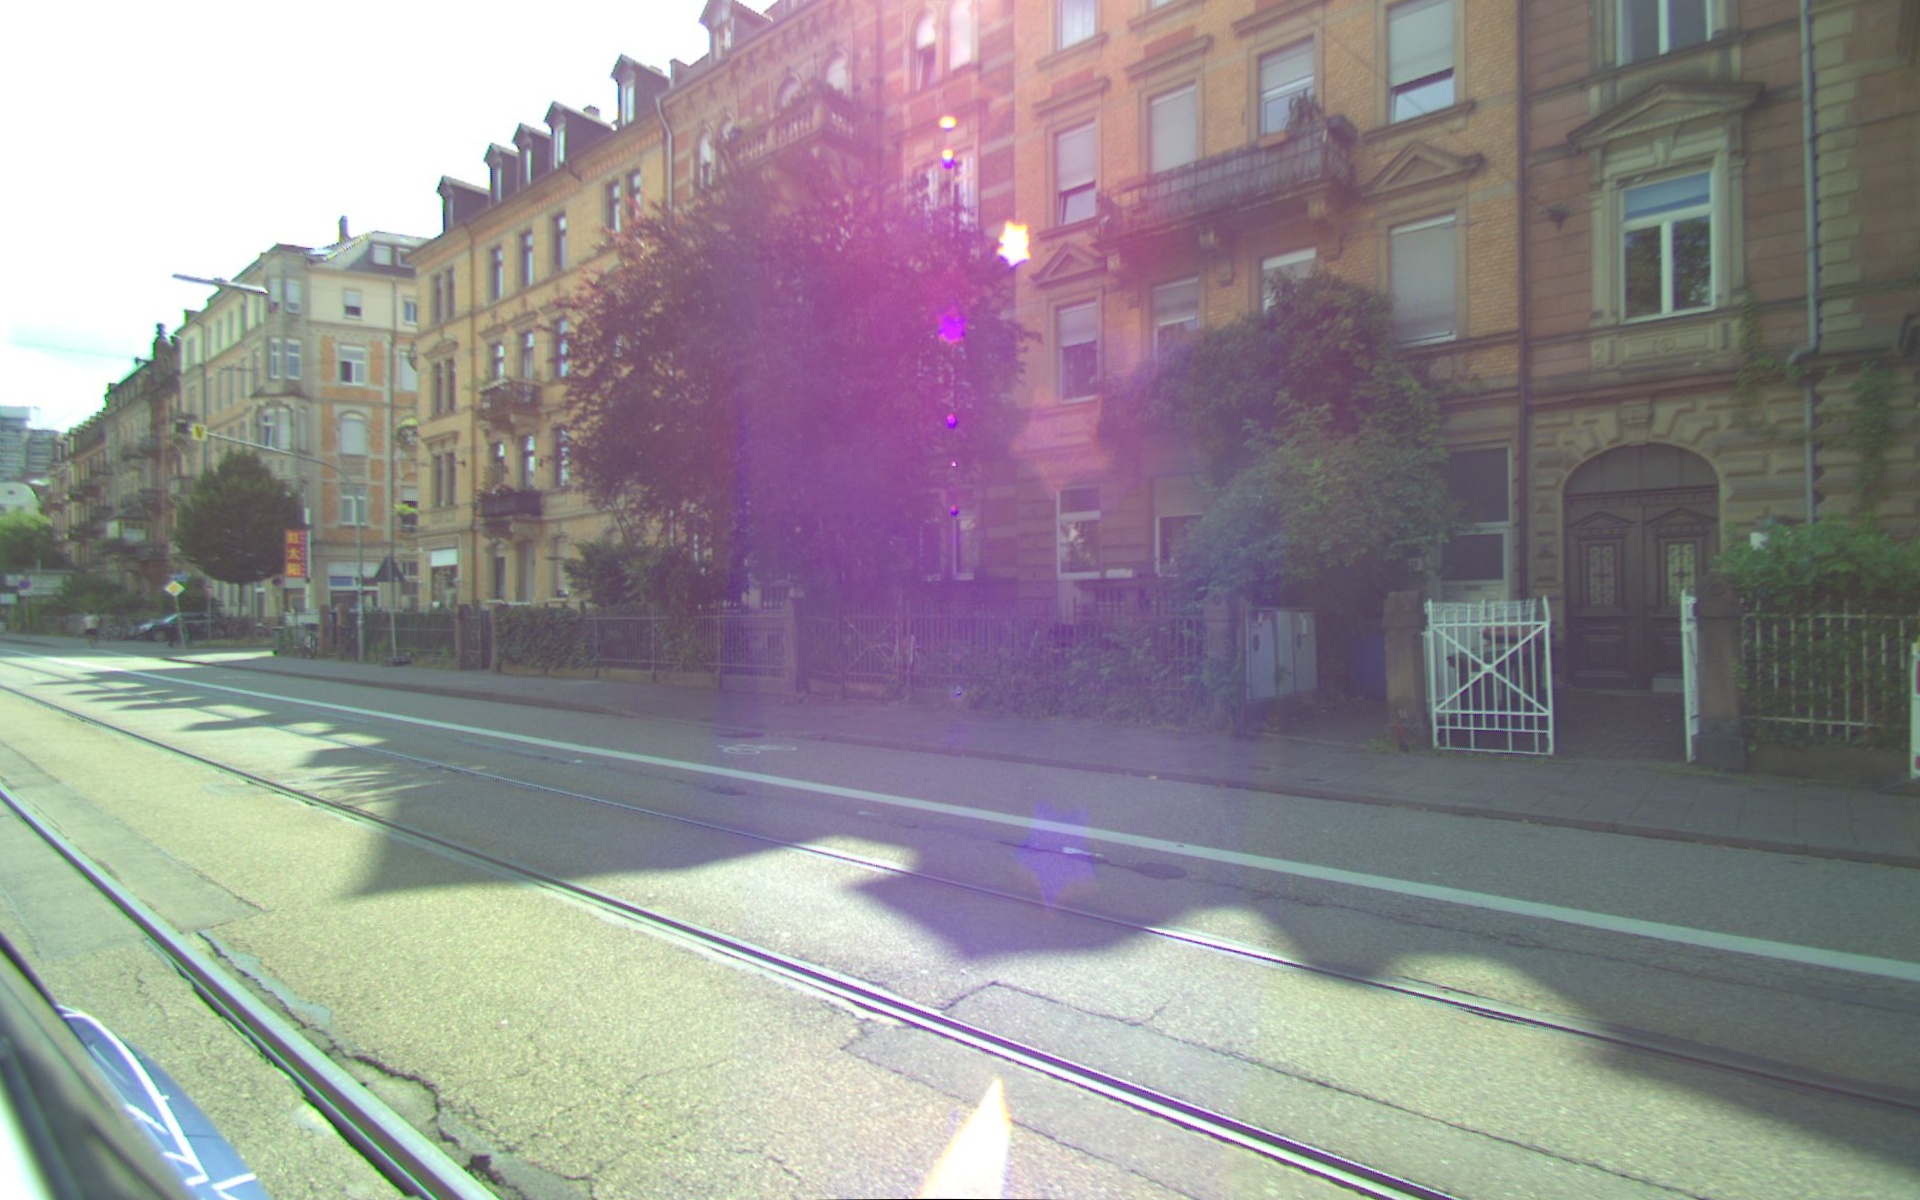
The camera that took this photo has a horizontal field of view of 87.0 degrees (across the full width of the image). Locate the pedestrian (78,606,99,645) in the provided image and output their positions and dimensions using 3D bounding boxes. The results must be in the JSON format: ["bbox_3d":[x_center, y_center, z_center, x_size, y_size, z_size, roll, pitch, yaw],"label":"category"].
[{"bbox_3d":[-40.402,1.191,46.917,1.105,1.773,0.528,-1,1,40],"label":"pedestrian"}]

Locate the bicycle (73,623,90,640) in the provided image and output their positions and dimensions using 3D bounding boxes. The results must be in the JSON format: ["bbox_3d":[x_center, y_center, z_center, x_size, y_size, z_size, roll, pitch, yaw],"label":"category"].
[{"bbox_3d":[-49.069,1.755,56.506,1.948,0.939,0.417,-1,-1,40],"label":"bicycle"}]

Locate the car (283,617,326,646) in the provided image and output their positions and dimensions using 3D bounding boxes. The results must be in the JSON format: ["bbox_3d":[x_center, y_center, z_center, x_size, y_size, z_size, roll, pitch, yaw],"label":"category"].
[{"bbox_3d":[-32.302,1.547,49.967,1.616,1.371,3.938,0,-1,-31],"label":"car"}]

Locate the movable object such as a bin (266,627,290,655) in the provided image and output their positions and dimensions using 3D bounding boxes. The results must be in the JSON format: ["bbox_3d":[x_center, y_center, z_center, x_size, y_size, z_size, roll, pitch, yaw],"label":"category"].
[{"bbox_3d":[-23.282,1.399,34.536,0.635,0.912,0.520,-1,-1,39],"label":"movable object such as a bin"}]

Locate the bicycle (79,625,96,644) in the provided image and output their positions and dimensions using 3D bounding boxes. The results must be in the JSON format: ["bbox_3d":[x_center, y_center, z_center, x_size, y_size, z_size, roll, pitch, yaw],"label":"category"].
[{"bbox_3d":[-46.681,1.845,54.147,1.948,0.984,0.417,-1,-1,40],"label":"bicycle"}]

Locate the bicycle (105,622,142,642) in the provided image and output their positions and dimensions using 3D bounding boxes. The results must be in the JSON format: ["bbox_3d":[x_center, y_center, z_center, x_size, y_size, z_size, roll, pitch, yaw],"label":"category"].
[{"bbox_3d":[-42.741,1.610,51.709,0.404,0.984,1.438,-2,-1,40],"label":"bicycle"}]

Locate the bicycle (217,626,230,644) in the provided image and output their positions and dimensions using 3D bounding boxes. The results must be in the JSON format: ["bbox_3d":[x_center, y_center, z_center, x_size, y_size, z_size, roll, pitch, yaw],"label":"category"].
[{"bbox_3d":[-35.296,1.693,48.492,0.516,0.844,1.702,0,-1,-36],"label":"bicycle"}]

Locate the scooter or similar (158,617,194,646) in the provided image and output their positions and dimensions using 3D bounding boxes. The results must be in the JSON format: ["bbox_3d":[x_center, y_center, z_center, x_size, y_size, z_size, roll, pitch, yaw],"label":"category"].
[{"bbox_3d":[-36.044,1.437,46.558,0.400,1.244,1.360,-1,0,12],"label":"scooter or similar"}]

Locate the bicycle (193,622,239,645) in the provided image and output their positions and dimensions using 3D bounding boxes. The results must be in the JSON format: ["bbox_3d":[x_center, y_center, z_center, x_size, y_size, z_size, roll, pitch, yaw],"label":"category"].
[{"bbox_3d":[-36.664,1.631,49.893,0.523,1.071,1.738,-2,-1,35],"label":"bicycle"}]

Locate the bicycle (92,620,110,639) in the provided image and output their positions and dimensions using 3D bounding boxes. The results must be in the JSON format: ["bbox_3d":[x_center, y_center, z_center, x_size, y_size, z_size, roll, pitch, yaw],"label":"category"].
[{"bbox_3d":[-44.461,1.526,52.374,1.948,0.984,0.417,-1,-1,40],"label":"bicycle"}]

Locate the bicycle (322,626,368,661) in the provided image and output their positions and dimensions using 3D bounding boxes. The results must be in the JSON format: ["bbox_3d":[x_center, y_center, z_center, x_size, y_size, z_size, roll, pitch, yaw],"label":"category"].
[{"bbox_3d":[-17.599,1.218,28.944,1.966,0.954,0.524,-1,-1,41],"label":"bicycle"}]

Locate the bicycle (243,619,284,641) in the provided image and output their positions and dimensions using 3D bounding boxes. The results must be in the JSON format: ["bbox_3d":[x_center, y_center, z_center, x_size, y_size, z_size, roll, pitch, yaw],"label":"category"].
[{"bbox_3d":[-35.015,1.502,50.909,1.671,1.071,0.525,0,-2,-39],"label":"bicycle"}]

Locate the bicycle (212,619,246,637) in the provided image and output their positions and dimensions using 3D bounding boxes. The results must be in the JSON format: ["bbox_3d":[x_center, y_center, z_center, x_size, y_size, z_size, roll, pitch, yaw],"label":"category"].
[{"bbox_3d":[-40.000,1.527,55.397,0.404,0.984,1.438,-2,-1,40],"label":"bicycle"}]

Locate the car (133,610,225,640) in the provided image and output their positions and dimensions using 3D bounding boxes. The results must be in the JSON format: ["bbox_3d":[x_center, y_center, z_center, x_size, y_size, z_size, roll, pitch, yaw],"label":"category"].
[{"bbox_3d":[-40.194,1.283,52.135,1.787,1.413,3.562,-2,-1,44],"label":"car"}]

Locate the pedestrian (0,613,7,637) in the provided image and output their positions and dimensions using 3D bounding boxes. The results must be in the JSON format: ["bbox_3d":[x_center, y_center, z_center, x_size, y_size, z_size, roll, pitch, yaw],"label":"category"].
[{"bbox_3d":[-70.527,1.829,74.435,1.150,1.716,0.483,-1,-1,39],"label":"pedestrian"}]

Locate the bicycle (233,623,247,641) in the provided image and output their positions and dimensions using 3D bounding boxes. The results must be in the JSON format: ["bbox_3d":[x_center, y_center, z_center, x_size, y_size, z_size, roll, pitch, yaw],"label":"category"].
[{"bbox_3d":[-34.551,1.548,48.534,0.516,0.844,1.702,0,-1,-36],"label":"bicycle"}]

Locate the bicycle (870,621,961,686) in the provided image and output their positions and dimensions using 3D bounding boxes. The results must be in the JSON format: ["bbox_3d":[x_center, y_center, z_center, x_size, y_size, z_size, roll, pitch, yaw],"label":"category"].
[{"bbox_3d":[-0.733,0.891,17.407,0.465,1.027,2.188,-1,-1,30],"label":"bicycle"}]

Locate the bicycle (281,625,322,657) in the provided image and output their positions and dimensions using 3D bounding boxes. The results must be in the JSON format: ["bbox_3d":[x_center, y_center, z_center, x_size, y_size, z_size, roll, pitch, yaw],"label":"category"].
[{"bbox_3d":[-20.379,1.265,31.304,1.966,0.954,0.524,-1,-1,41],"label":"bicycle"}]
